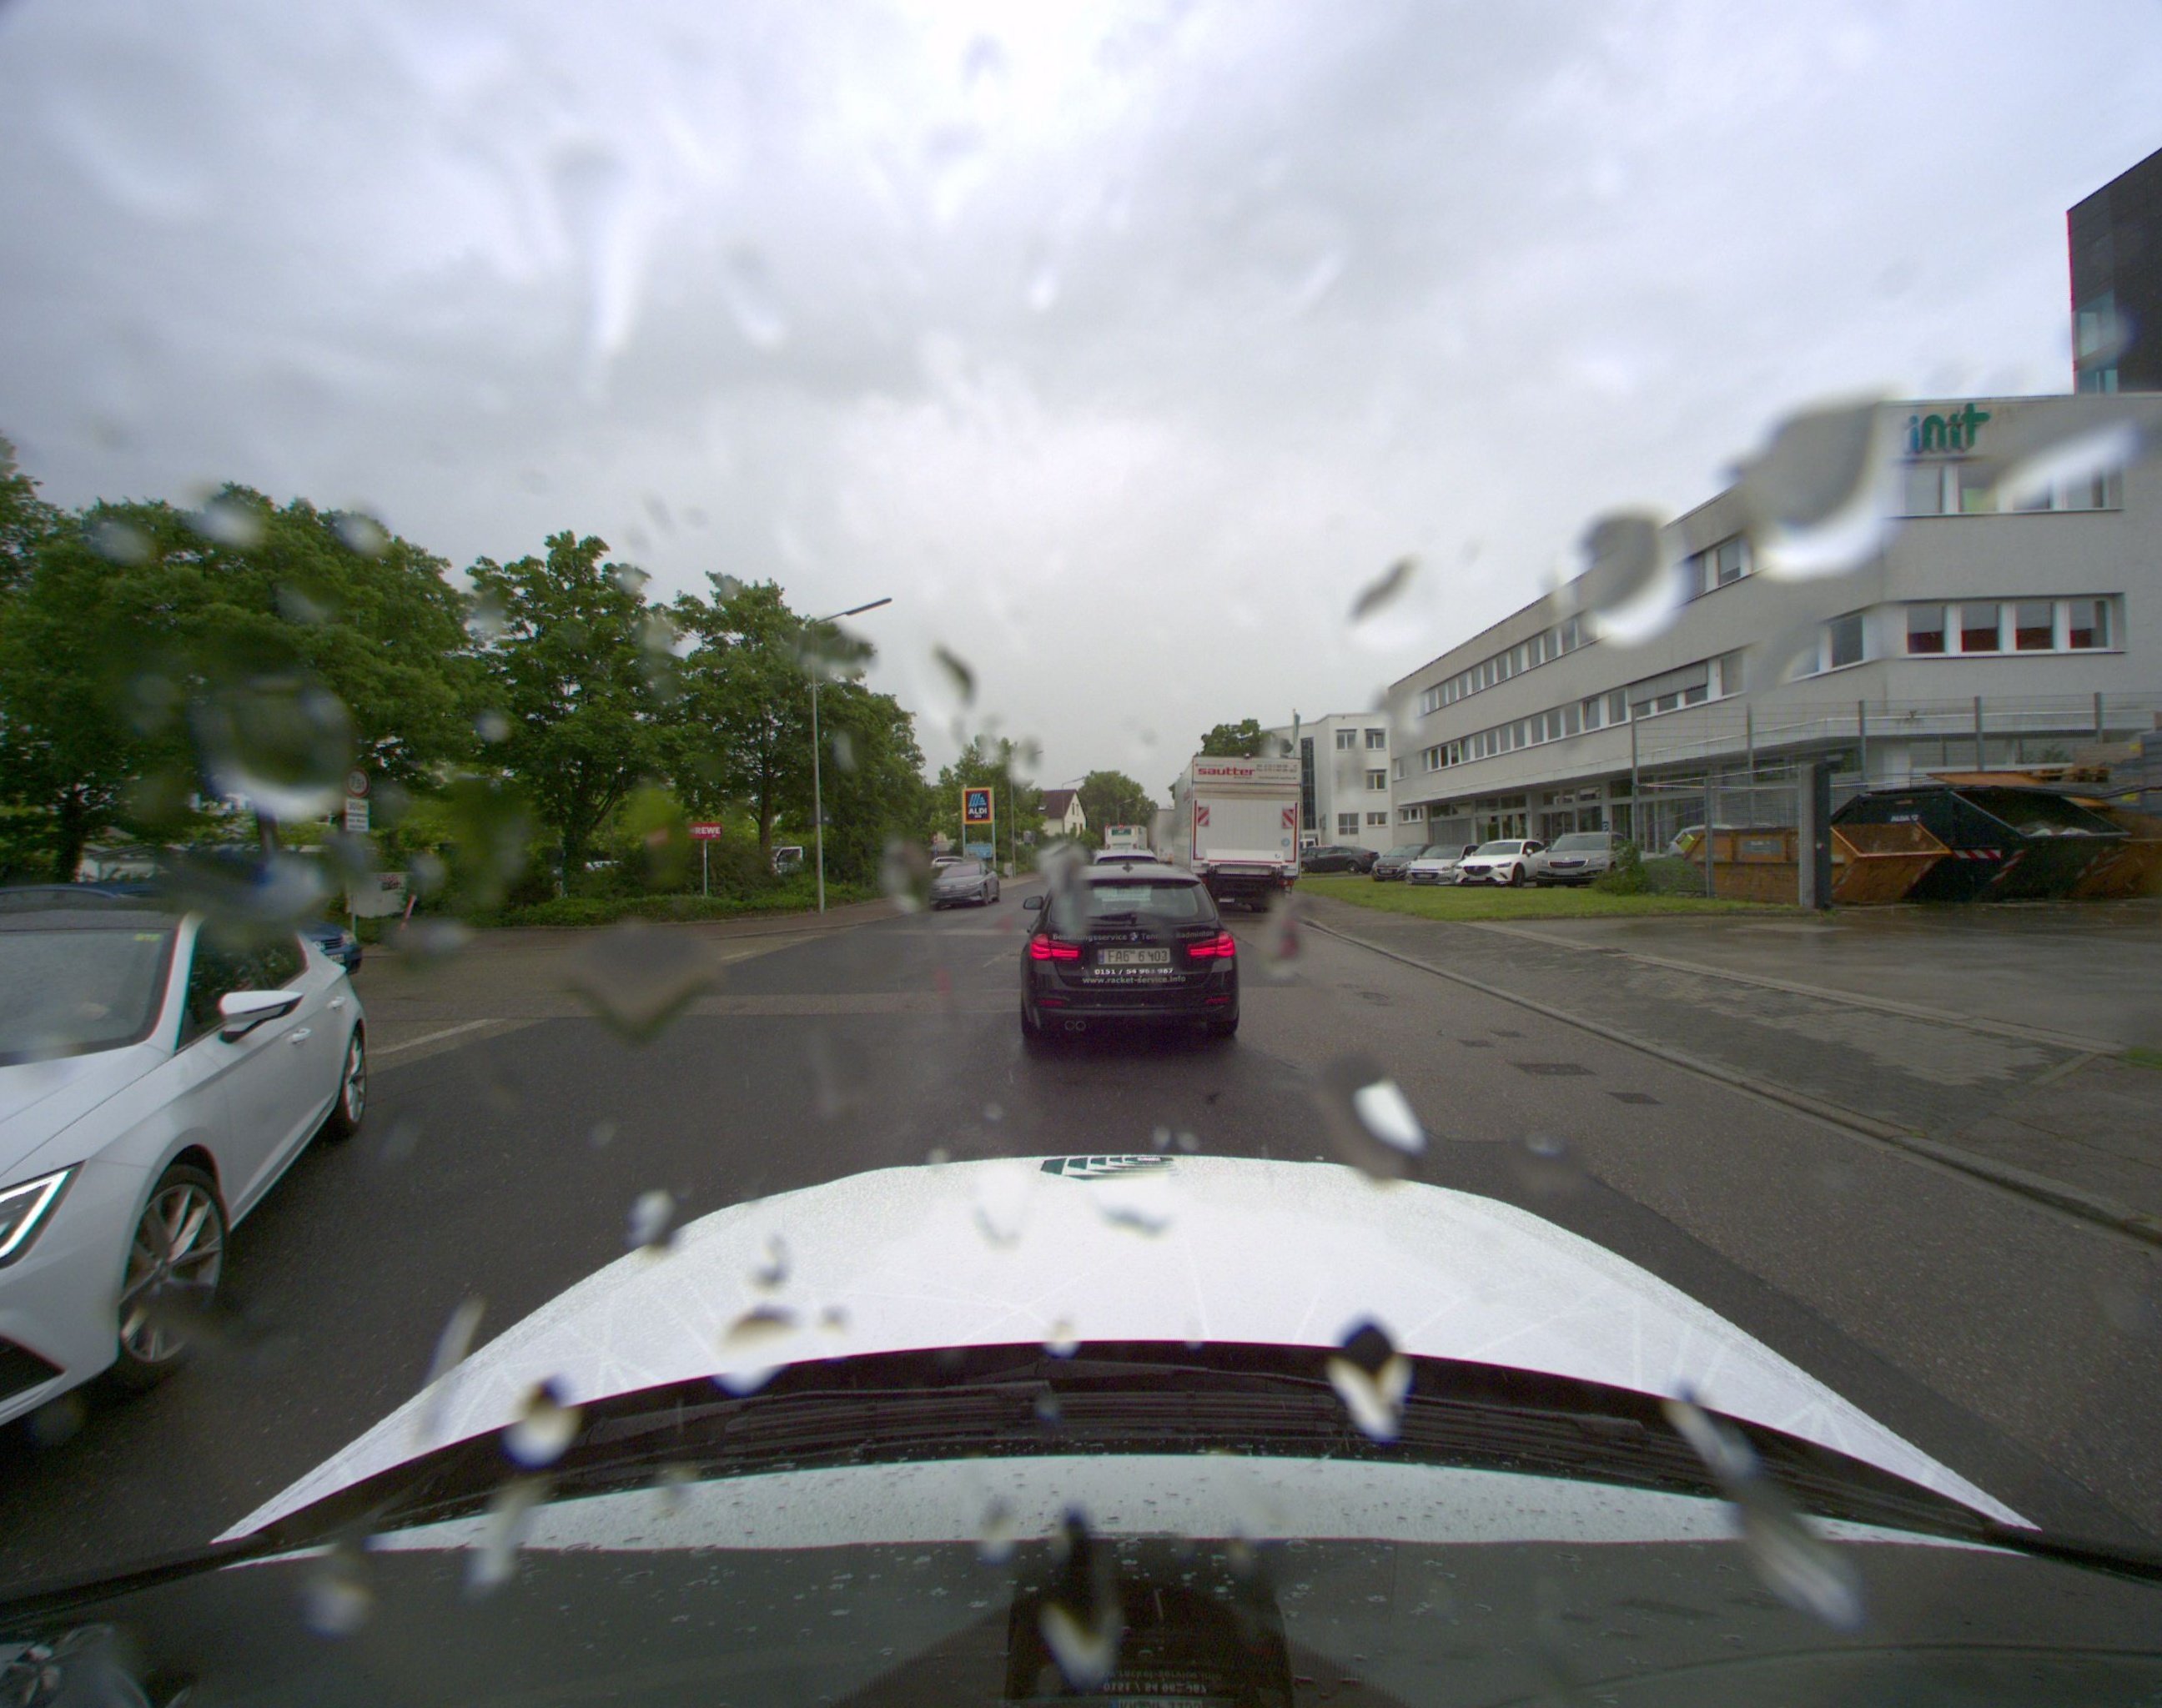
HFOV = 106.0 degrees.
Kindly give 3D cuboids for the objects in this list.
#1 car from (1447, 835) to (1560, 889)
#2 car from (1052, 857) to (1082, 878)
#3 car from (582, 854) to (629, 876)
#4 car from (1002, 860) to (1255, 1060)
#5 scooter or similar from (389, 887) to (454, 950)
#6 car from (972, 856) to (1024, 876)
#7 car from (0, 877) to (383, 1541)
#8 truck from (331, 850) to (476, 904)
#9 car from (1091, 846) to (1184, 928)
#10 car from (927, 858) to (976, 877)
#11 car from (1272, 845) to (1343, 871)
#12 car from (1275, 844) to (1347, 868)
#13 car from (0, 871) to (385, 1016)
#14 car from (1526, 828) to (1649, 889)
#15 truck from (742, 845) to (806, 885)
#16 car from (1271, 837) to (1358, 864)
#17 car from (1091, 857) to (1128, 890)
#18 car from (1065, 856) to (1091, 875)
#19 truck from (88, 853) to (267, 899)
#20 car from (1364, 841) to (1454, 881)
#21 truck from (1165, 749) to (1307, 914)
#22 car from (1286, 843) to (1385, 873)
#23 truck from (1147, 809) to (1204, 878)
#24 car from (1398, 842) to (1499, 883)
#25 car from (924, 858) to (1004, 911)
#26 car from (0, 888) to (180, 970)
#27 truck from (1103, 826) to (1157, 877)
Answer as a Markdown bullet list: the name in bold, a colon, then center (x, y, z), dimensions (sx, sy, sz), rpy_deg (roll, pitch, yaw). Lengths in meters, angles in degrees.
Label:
- **car**: center (12.955, 0.203, 24.874), dimensions (4.022, 1.470, 1.754), rpy_deg (-2, 0, -42)
- **car**: center (-1.039, 0.973, 61.246), dimensions (1.698, 1.367, 4.607), rpy_deg (-4, 0, 5)
- **car**: center (-45.593, 1.017, 78.123), dimensions (1.985, 2.014, 4.003), rpy_deg (-1, -1, 3)
- **car**: center (0.370, 0.775, 7.840), dimensions (1.798, 1.395, 4.000), rpy_deg (-1, 0, 1)
- **scooter or similar**: center (-13.186, 1.275, 16.316), dimensions (0.282, 1.175, 1.063), rpy_deg (-2, 0, 10)
- **car**: center (-6.009, 0.871, 59.297), dimensions (3.554, 1.460, 1.714), rpy_deg (0, 0, 4)
- **car**: center (-4.076, 0.861, 3.044), dimensions (1.743, 1.441, 3.957), rpy_deg (-3, 0, -34)
- **truck**: center (-35.936, 1.127, 43.550), dimensions (1.984, 2.601, 6.404), rpy_deg (-2, 0, 4)
- **car**: center (1.129, 0.664, 17.963), dimensions (1.798, 1.586, 4.000), rpy_deg (-1, 0, 1)
- **car**: center (-11.637, 1.229, 73.333), dimensions (3.970, 1.540, 1.912), rpy_deg (-2, 0, 3)
- **car**: center (13.731, 0.228, 49.451), dimensions (3.733, 1.396, 1.738), rpy_deg (2, 3, 43)
- **car**: center (14.623, 0.119, 51.884), dimensions (4.098, 1.415, 1.701), rpy_deg (0, 3, 43)
- **car**: center (-11.186, 1.034, 9.870), dimensions (3.972, 1.441, 1.737), rpy_deg (-3, 0, 1)
- **car**: center (14.099, 0.082, 22.587), dimensions (4.022, 1.527, 1.850), rpy_deg (-2, 0, -43)
- **truck**: center (-22.612, 0.773, 60.312), dimensions (1.986, 2.753, 6.469), rpy_deg (-2, 0, 2)
- **car**: center (18.914, -0.265, 66.067), dimensions (6.437, 2.014, 1.998), rpy_deg (-1, -1, -2)
- **car**: center (1.409, 0.948, 41.438), dimensions (1.798, 1.552, 4.000), rpy_deg (-1, 0, 1)
- **car**: center (-0.213, 0.898, 67.322), dimensions (1.697, 1.367, 3.845), rpy_deg (-4, 0, 6)
- **truck**: center (-44.802, 1.028, 40.677), dimensions (1.987, 2.060, 6.134), rpy_deg (-2, 0, 0)
- **car**: center (12.594, 0.236, 31.194), dimensions (3.789, 1.393, 1.686), rpy_deg (-2, 0, -42)
- **truck**: center (4.059, -0.531, 23.449), dimensions (2.730, 3.789, 9.306), rpy_deg (1, 0, 3)
- **car**: center (13.345, 0.219, 42.876), dimensions (4.616, 1.468, 1.802), rpy_deg (-2, 0, 40)
- **truck**: center (5.328, -0.575, 47.167), dimensions (2.730, 3.611, 7.755), rpy_deg (1, 0, 2)
- **car**: center (12.728, 0.266, 28.126), dimensions (4.022, 1.286, 1.686), rpy_deg (-2, 0, -42)
- **car**: center (-3.950, 0.973, 28.278), dimensions (1.802, 1.528, 4.750), rpy_deg (-5, 0, 2)
- **car**: center (-20.705, 1.490, 16.044), dimensions (3.972, 1.363, 1.737), rpy_deg (-3, 0, 1)
- **truck**: center (3.503, -0.299, 56.414), dimensions (2.325, 3.256, 7.779), rpy_deg (1, 2, 13)
